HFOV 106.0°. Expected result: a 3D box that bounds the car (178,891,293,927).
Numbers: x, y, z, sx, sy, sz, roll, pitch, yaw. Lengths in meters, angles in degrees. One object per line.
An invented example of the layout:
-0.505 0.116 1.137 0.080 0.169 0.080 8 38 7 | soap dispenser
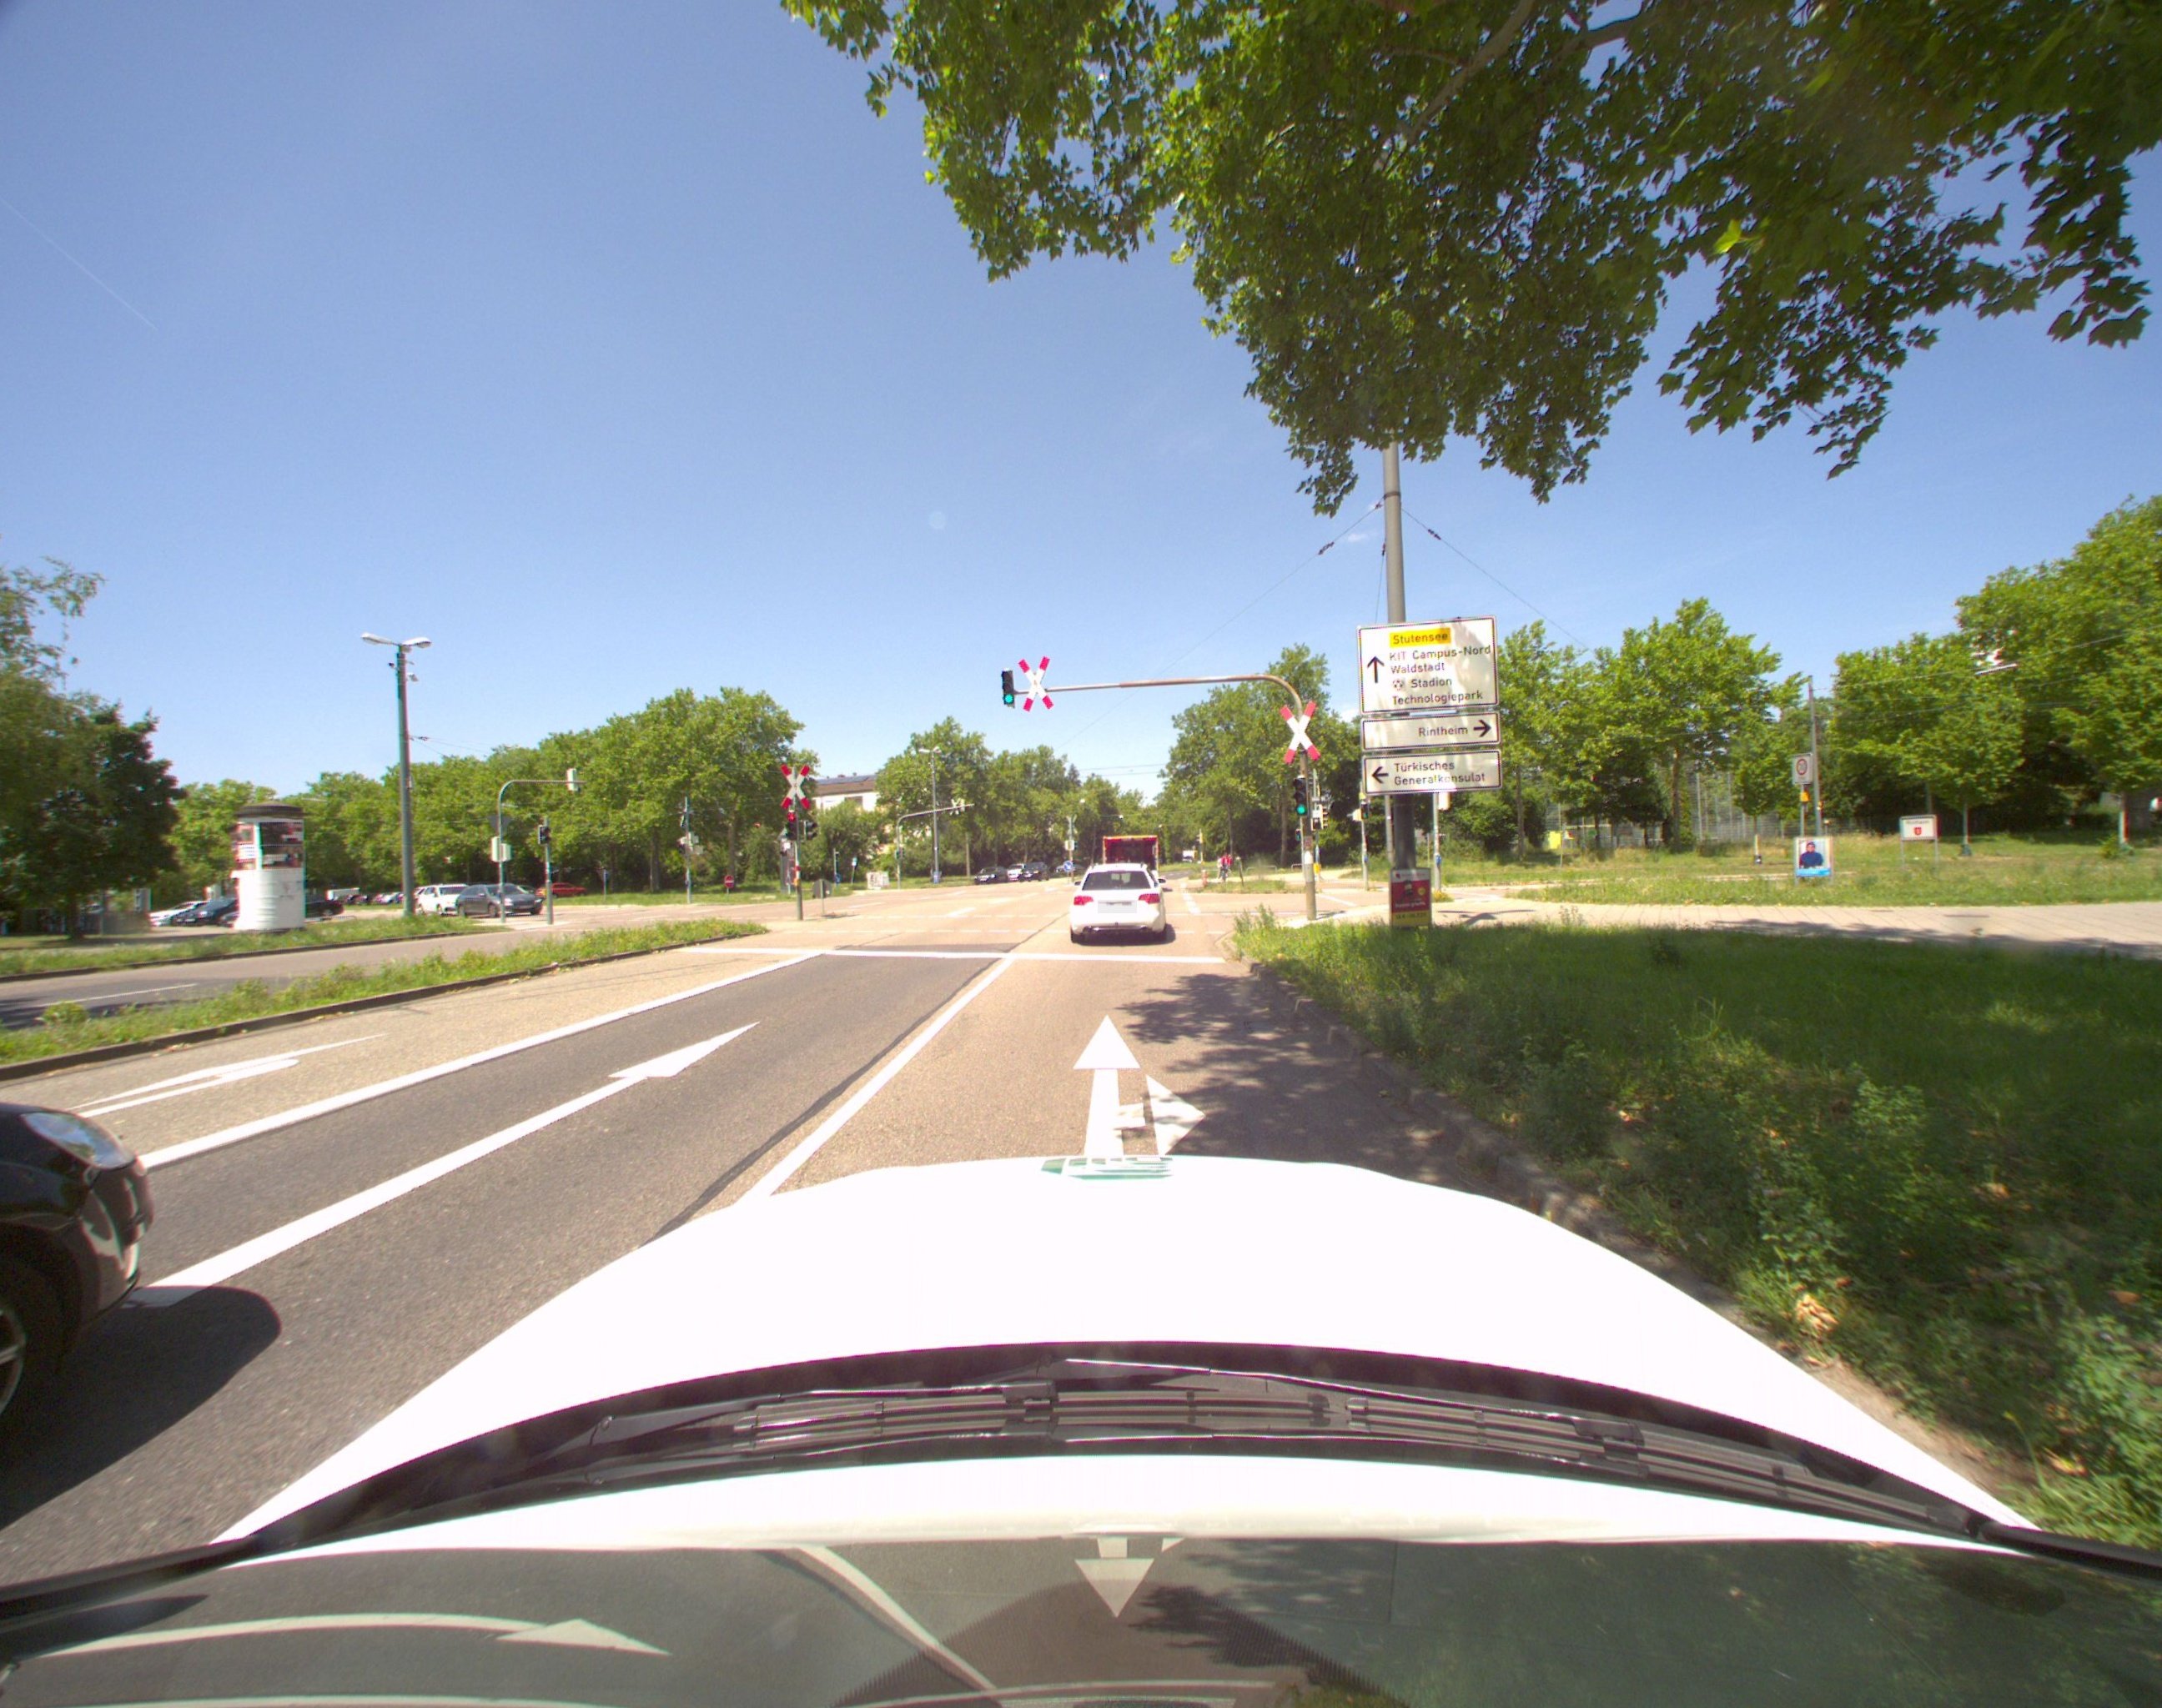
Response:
-46.752 3.010 45.185 1.770 1.651 4.198 -3 -1 4 | car

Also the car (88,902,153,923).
-66.159 3.997 56.165 1.182 1.205 2.872 -2 0 -5 | car

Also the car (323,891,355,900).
-92.447 5.189 101.449 0.996 0.994 2.737 -3 -1 29 | car

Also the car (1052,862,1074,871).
-2.924 2.076 132.992 1.864 1.393 4.024 -2 -1 27 | car

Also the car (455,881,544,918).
-25.658 1.997 35.918 3.941 1.457 1.776 -3 0 32 | car

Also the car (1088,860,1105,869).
2.868 1.951 147.691 1.866 1.474 4.020 -2 -1 20 | car

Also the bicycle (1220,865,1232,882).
8.489 1.131 47.732 0.584 0.895 1.815 -2 -1 7 | bicycle

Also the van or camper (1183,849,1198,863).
26.283 0.458 195.634 2.641 3.331 5.522 -2 -1 15 | van or camper

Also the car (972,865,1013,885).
-7.281 1.703 67.473 1.936 1.440 4.761 -2 0 11 | car

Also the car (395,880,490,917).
-31.206 2.174 39.814 4.403 1.604 2.231 -3 0 32 | car

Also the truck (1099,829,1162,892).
2.205 0.304 36.948 2.501 2.559 7.608 -1 -1 3 | truck

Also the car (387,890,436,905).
-69.591 4.515 84.716 1.481 1.397 3.571 -3 0 27 | car

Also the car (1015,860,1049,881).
-4.043 1.328 67.493 1.898 1.539 4.309 -2 0 9 | car

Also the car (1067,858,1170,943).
0.777 0.814 15.907 1.755 1.445 3.620 -1 0 4 | car

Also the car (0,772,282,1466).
-3.699 0.684 0.453 1.848 1.755 4.649 -2 0 1 | car

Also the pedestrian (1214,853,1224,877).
8.840 0.709 52.163 0.548 1.484 0.632 -2 -1 16 | pedestrian

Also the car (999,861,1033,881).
-5.909 1.537 74.513 1.775 1.615 4.419 -2 0 12 | car

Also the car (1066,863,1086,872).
-0.812 2.285 138.189 1.864 1.376 4.022 -2 -1 24 | car

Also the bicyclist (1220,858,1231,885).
8.487 1.000 47.818 0.574 1.556 0.675 -2 -1 7 | bicyclist

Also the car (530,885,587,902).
-47.463 3.559 74.036 1.440 1.397 4.162 -1 -1 27 | car

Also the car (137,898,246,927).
-54.127 3.538 49.686 1.931 1.423 4.068 -3 -1 6 | car
